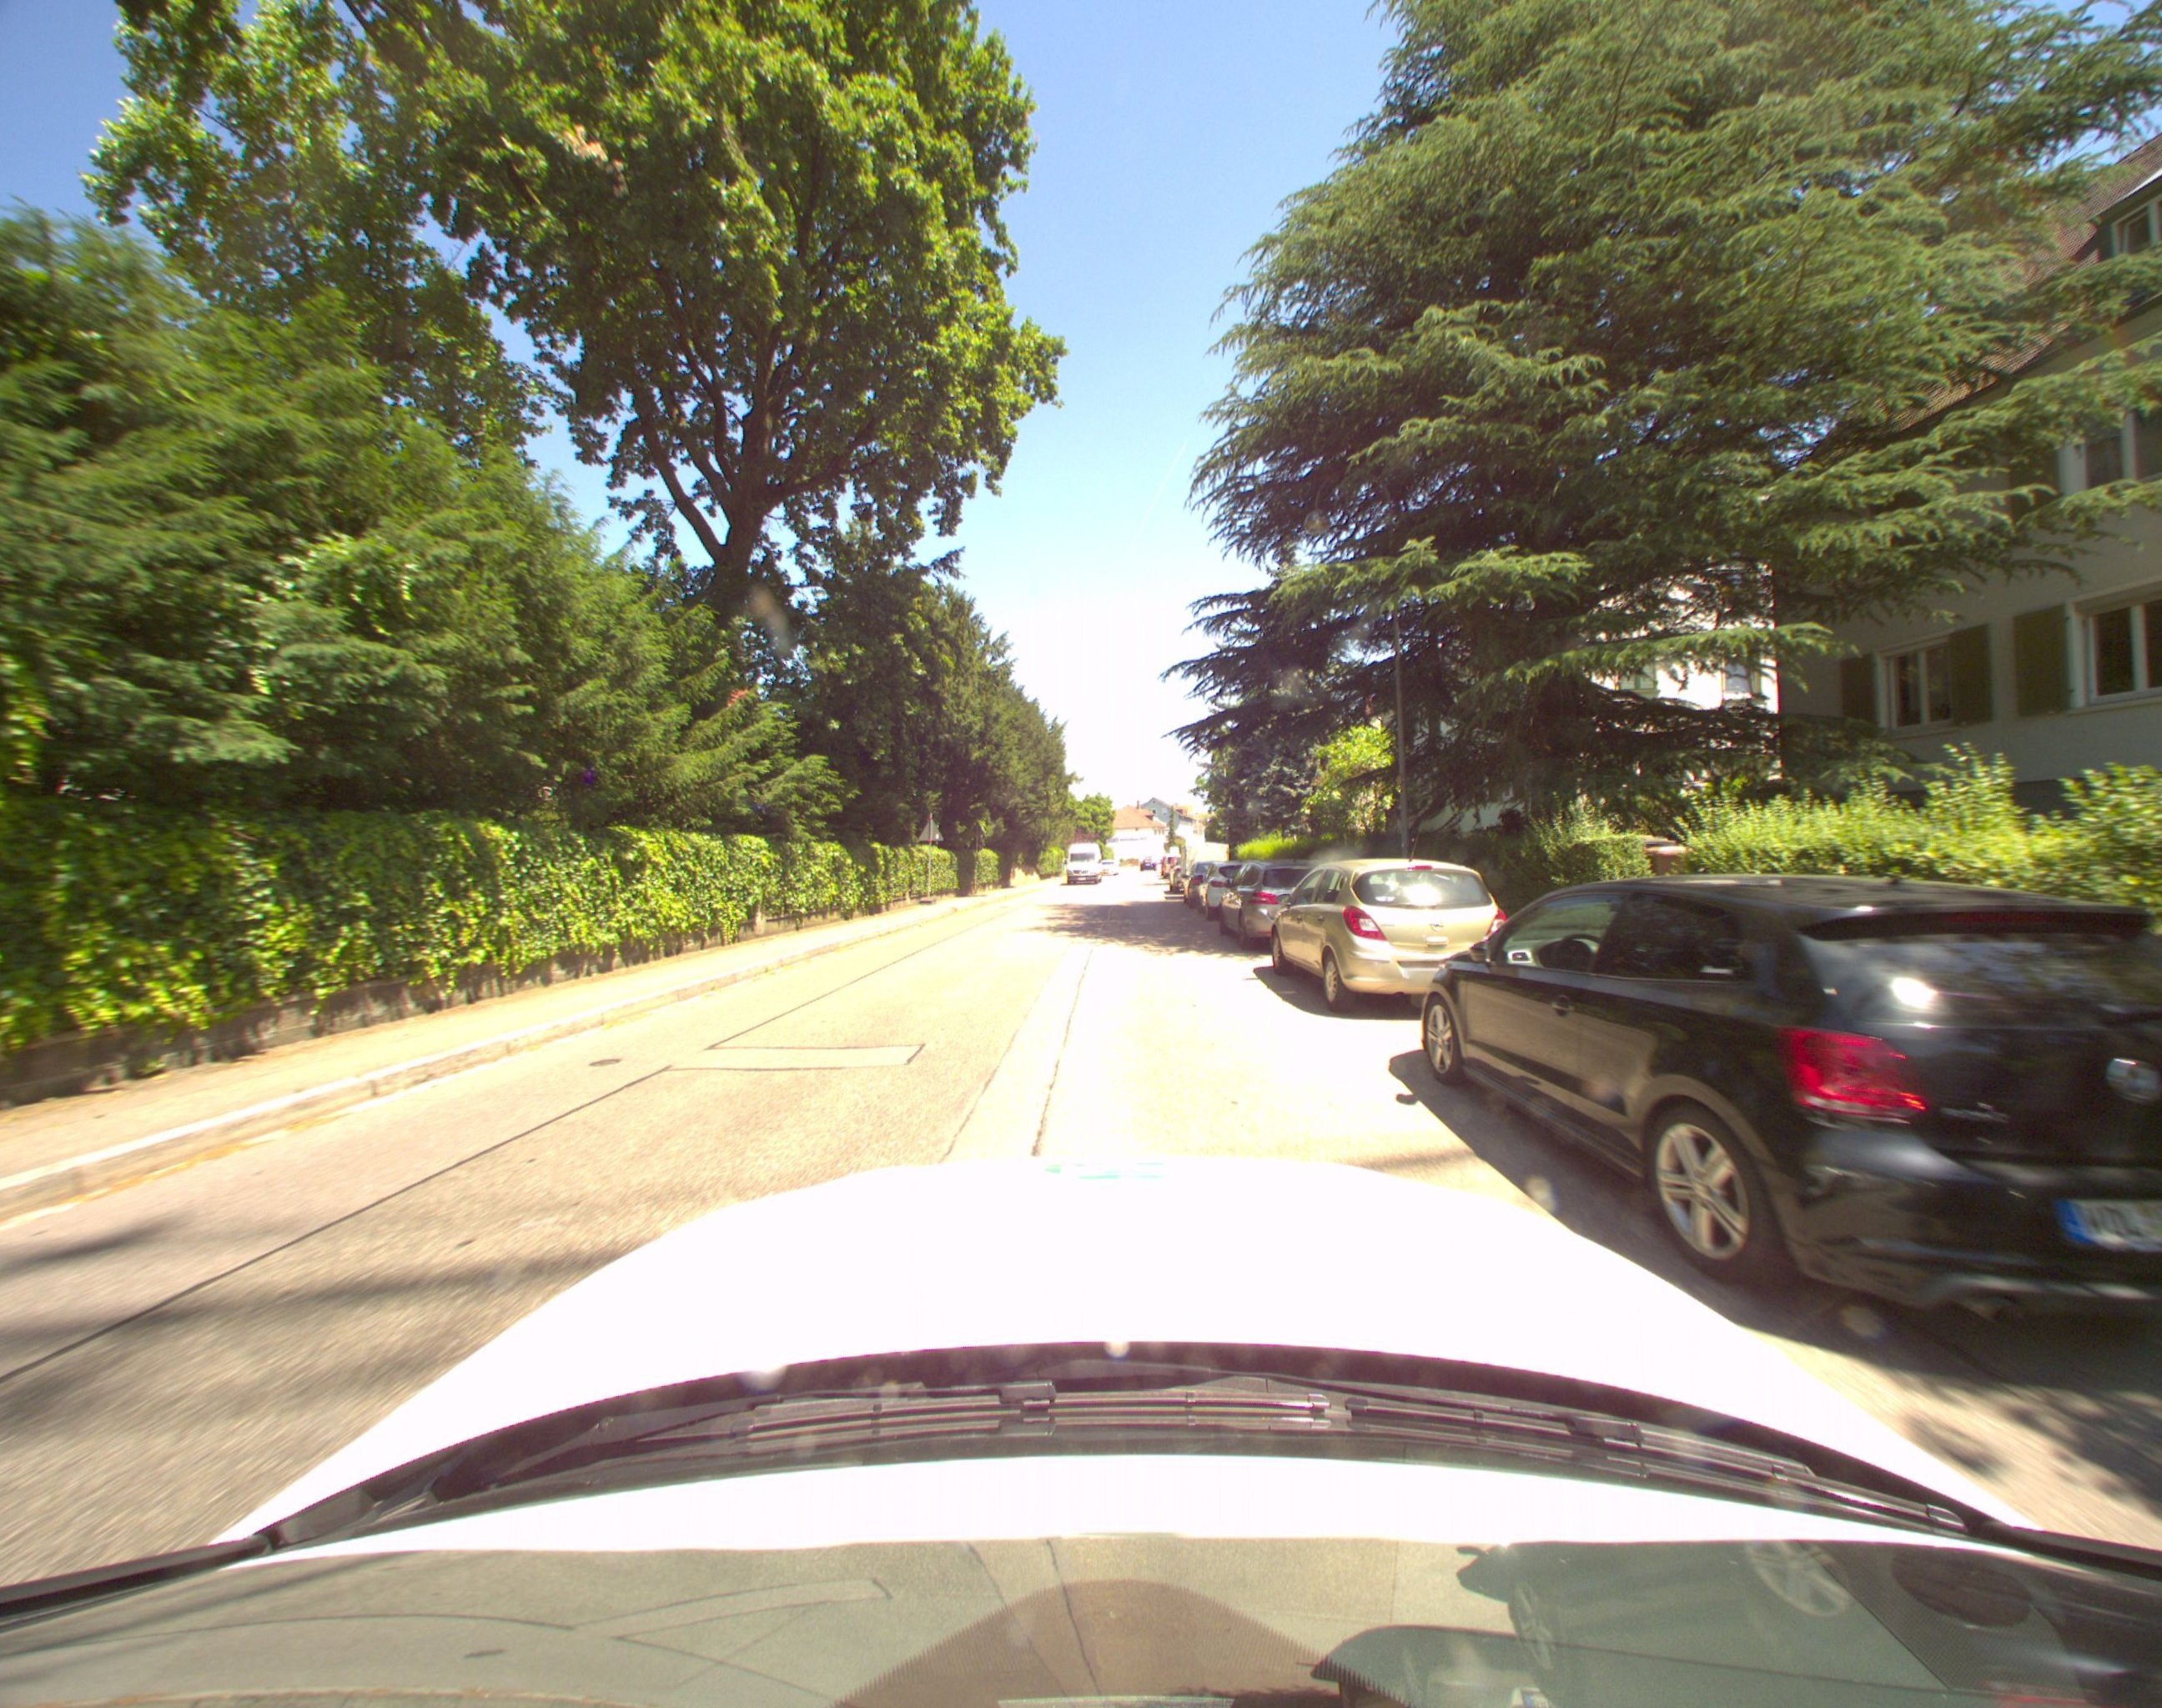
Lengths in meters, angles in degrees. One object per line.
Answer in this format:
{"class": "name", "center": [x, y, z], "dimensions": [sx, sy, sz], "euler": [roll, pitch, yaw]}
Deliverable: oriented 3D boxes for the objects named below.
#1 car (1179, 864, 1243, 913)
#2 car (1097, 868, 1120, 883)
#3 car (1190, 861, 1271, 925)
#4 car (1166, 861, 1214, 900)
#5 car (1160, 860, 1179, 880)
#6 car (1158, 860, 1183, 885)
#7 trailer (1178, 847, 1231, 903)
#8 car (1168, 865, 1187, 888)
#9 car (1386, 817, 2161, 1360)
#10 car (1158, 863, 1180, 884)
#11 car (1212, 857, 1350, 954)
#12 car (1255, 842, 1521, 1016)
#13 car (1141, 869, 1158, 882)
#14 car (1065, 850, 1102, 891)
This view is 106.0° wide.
{"class": "car", "center": [4.043, 1.056, 25.811], "dimensions": [1.607, 1.396, 4.262], "euler": [0, -1, 4]}
{"class": "car", "center": [2.621, 2.041, 77.882], "dimensions": [1.855, 1.383, 4.611], "euler": [-1, -1, 6]}
{"class": "car", "center": [3.774, 0.938, 21.106], "dimensions": [1.607, 1.469, 4.068], "euler": [-1, -1, 4]}
{"class": "car", "center": [4.756, 1.110, 36.101], "dimensions": [1.764, 1.632, 4.607], "euler": [0, -1, 3]}
{"class": "car", "center": [9.097, 1.598, 83.945], "dimensions": [1.893, 1.925, 4.726], "euler": [-2, -1, 6]}
{"class": "car", "center": [6.593, 1.333, 60.500], "dimensions": [1.738, 1.782, 4.549], "euler": [0, -1, 5]}
{"class": "trailer", "center": [4.712, 0.782, 31.495], "dimensions": [1.673, 2.068, 3.711], "euler": [0, -1, 3]}
{"class": "car", "center": [6.566, 1.512, 55.620], "dimensions": [1.254, 1.495, 2.713], "euler": [0, -1, 7]}
{"class": "car", "center": [3.014, 0.665, 4.208], "dimensions": [1.575, 1.443, 4.011], "euler": [2, -1, 4]}
{"class": "car", "center": [7.626, 1.673, 70.577], "dimensions": [1.893, 1.728, 4.398], "euler": [0, -1, 6]}
{"class": "car", "center": [3.394, 0.814, 14.566], "dimensions": [1.608, 1.451, 4.378], "euler": [1, -1, 3]}
{"class": "car", "center": [3.196, 0.723, 9.343], "dimensions": [1.608, 1.513, 4.065], "euler": [2, -1, 2]}
{"class": "car", "center": [8.037, 2.515, 95.253], "dimensions": [1.784, 1.510, 4.009], "euler": [0, -1, 9]}
{"class": "car", "center": [0.233, 1.074, 53.296], "dimensions": [1.985, 2.533, 5.899], "euler": [-1, -1, 4]}
